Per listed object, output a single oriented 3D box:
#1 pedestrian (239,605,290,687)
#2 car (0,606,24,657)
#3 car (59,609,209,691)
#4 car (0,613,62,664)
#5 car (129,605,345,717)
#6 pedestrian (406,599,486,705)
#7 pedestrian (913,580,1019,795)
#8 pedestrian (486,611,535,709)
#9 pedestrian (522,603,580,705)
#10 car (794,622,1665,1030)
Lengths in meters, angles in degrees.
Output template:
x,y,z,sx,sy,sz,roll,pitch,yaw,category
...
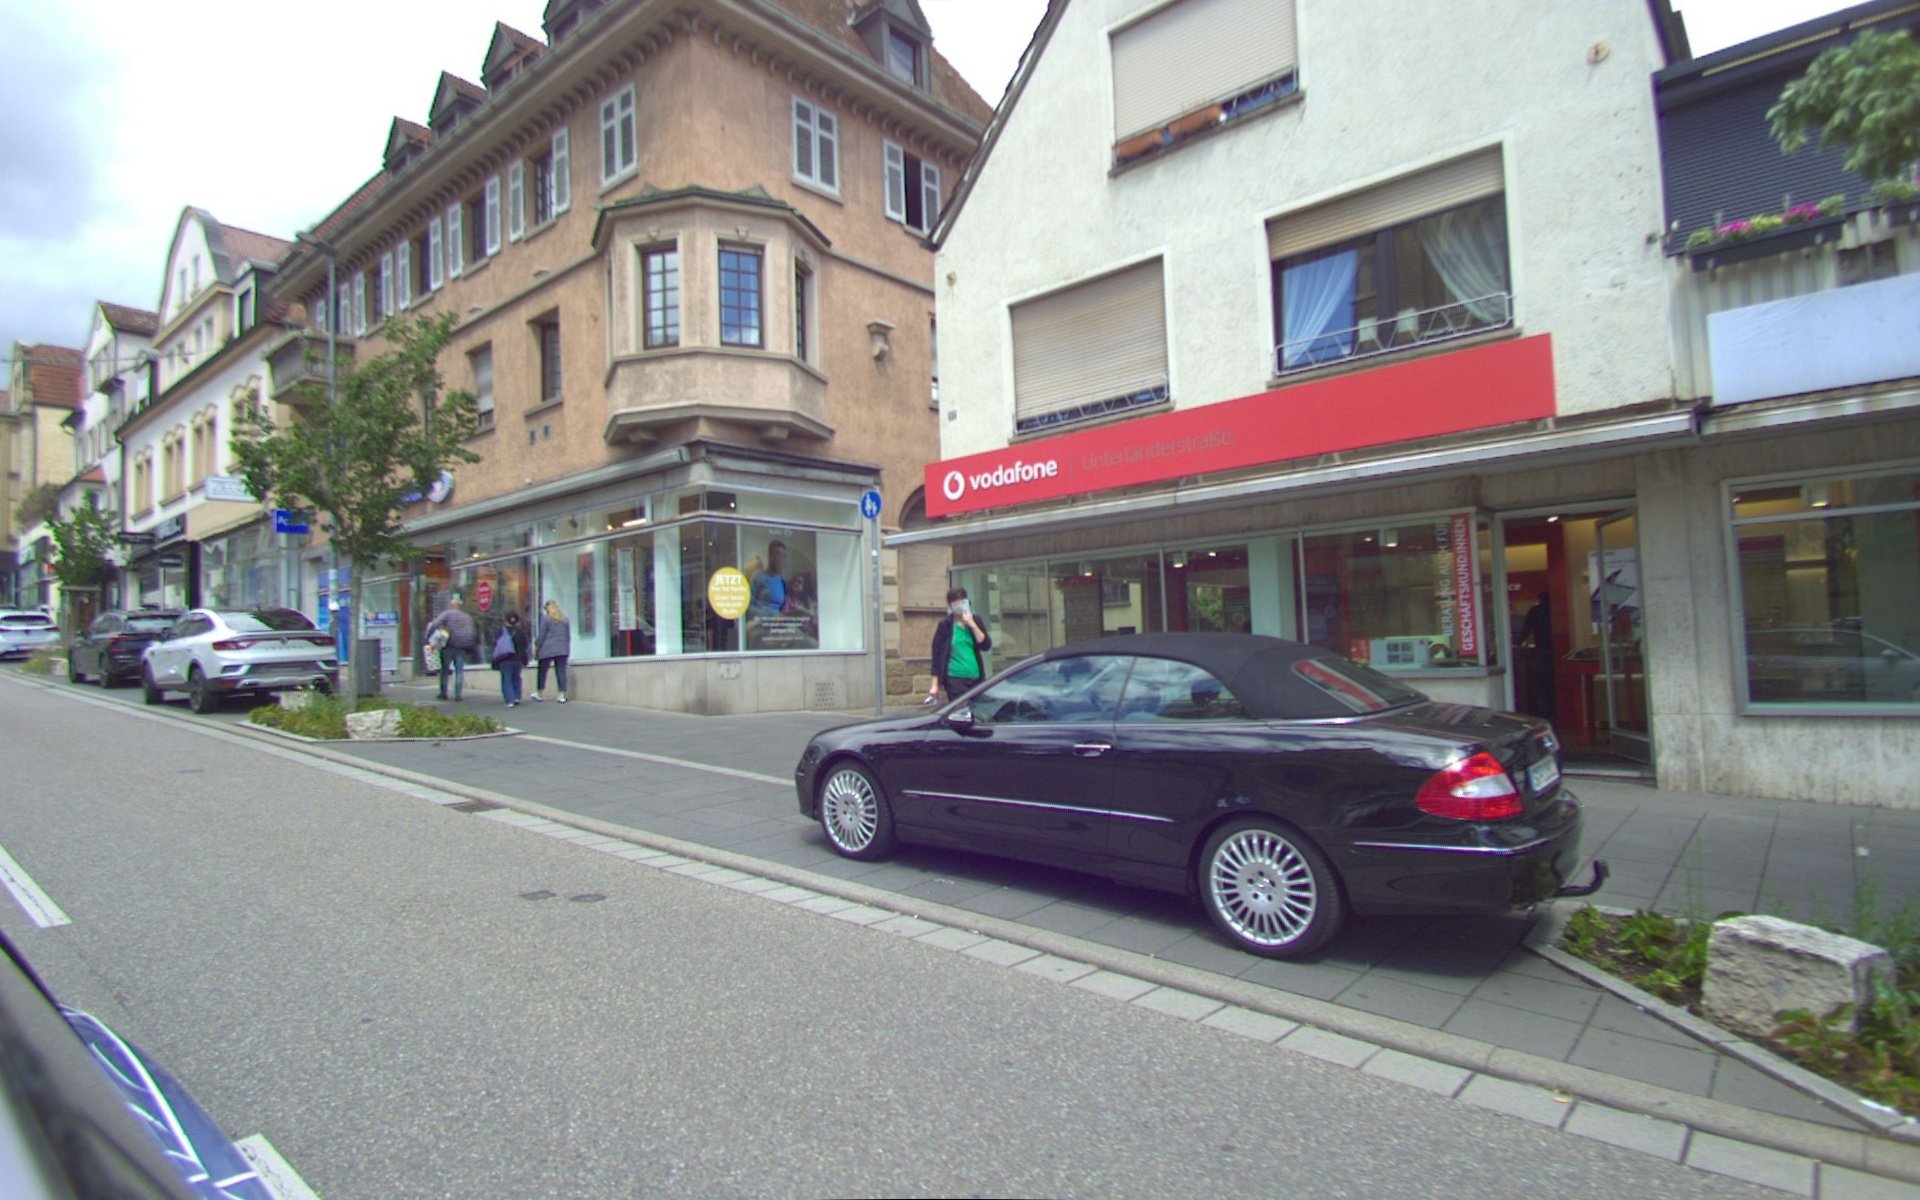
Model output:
x,y,z,sx,sy,sz,roll,pitch,yaw,category
-13.988,0.918,20.359,0.650,1.585,0.621,-1,2,40,pedestrian
-33.373,1.052,34.490,3.989,1.692,1.710,0,-1,41,car
-17.377,0.976,21.233,3.959,1.537,1.648,-1,0,39,car
-27.930,1.100,29.826,3.501,1.442,1.710,0,-1,41,car
-11.755,0.888,16.347,4.450,1.585,1.708,-1,-1,39,car
-8.419,0.828,16.569,0.905,1.679,0.862,-1,-1,38,pedestrian
0.041,0.726,8.827,0.651,1.774,0.780,1,-1,-26,pedestrian
-6.972,0.917,15.694,0.528,1.489,0.491,-1,-1,38,pedestrian
-6.553,0.848,16.216,0.641,1.594,0.607,-1,-1,38,pedestrian
1.127,0.833,5.640,4.442,1.403,1.639,-1,-1,42,car
